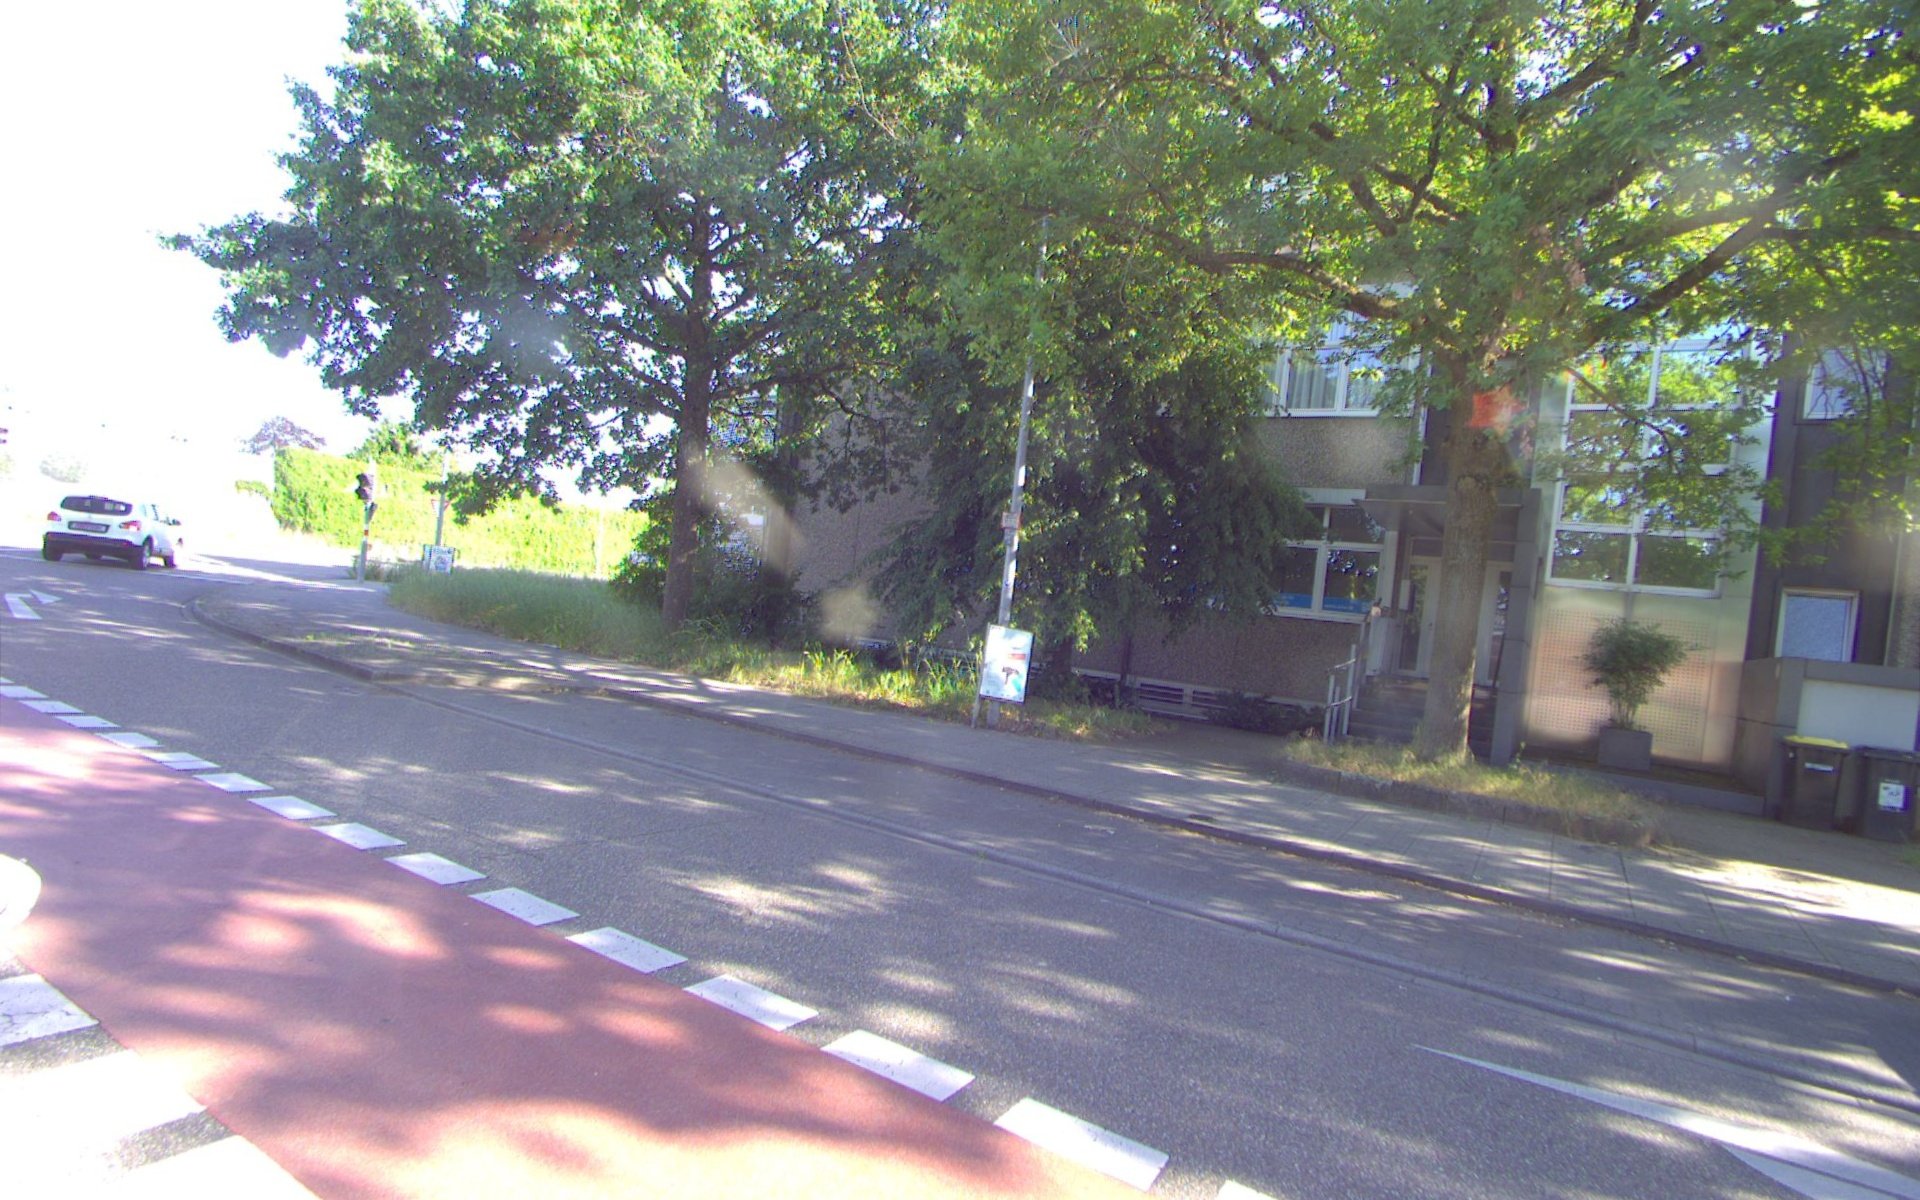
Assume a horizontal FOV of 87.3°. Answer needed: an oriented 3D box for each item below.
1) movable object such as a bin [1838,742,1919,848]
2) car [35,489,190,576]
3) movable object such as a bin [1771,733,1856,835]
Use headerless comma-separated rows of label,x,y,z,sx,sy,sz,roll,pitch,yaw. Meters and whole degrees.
movable object such as a bin,10.767,2.249,11.723,0.605,1.075,0.634,6,0,30
car,-19.594,-1.575,23.466,1.702,1.628,4.039,7,1,-26
movable object such as a bin,10.178,2.180,12.016,0.575,1.070,0.625,7,0,30
